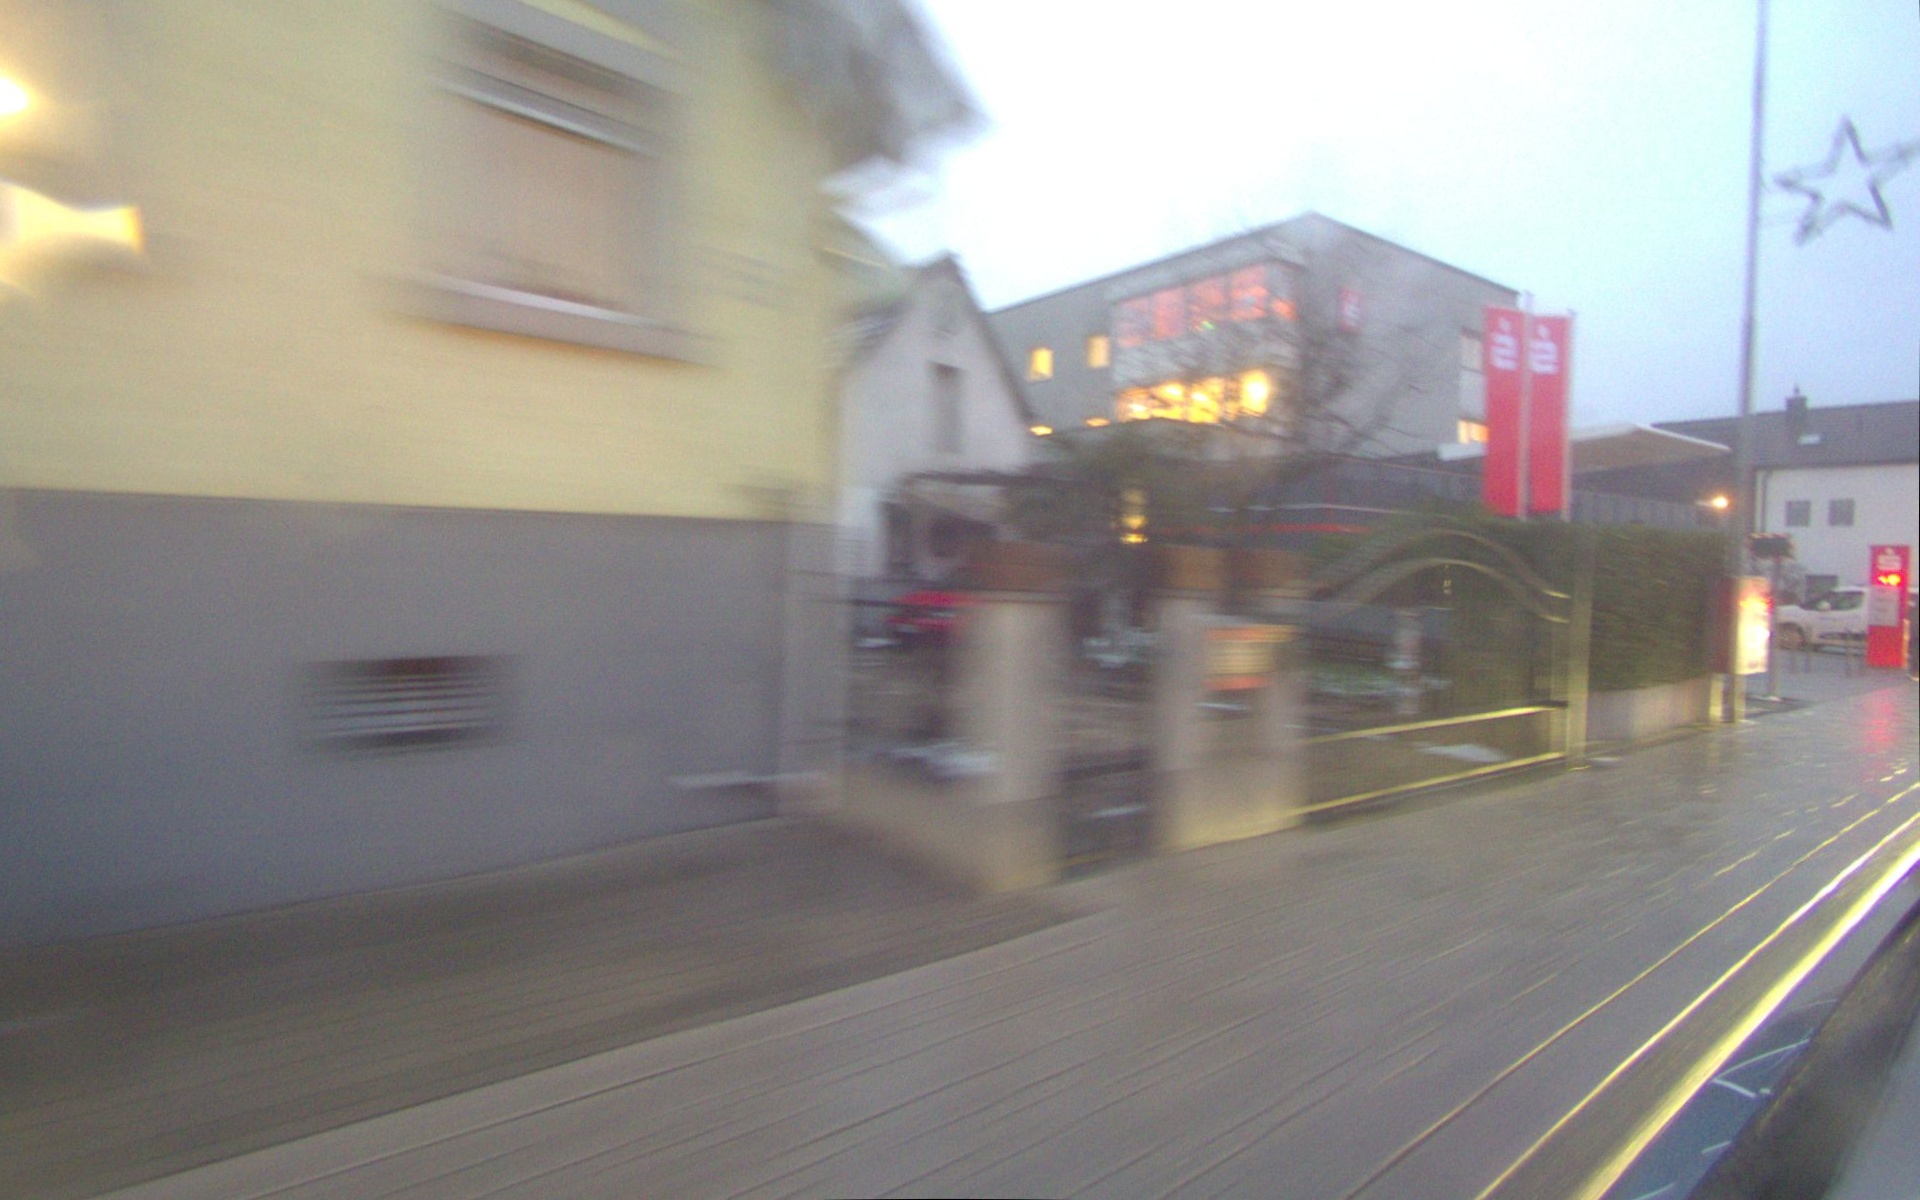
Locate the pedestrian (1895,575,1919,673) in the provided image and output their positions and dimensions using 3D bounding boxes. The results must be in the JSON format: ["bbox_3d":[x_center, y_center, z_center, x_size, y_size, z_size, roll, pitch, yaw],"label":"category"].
[{"bbox_3d":[17.623,0.445,18.224,0.828,1.726,0.841,1,3,-26],"label":"pedestrian"}]

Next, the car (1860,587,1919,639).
[{"bbox_3d":[29.899,0.430,30.343,1.876,1.504,4.002,-1,3,-34],"label":"car"}]

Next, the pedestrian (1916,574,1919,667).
[{"bbox_3d":[18.227,0.378,18.724,0.899,1.726,0.704,0,1,-42],"label":"pedestrian"}]

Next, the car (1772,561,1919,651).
[{"bbox_3d":[23.536,0.133,25.645,1.960,2.074,4.112,1,3,-29],"label":"car"}]
